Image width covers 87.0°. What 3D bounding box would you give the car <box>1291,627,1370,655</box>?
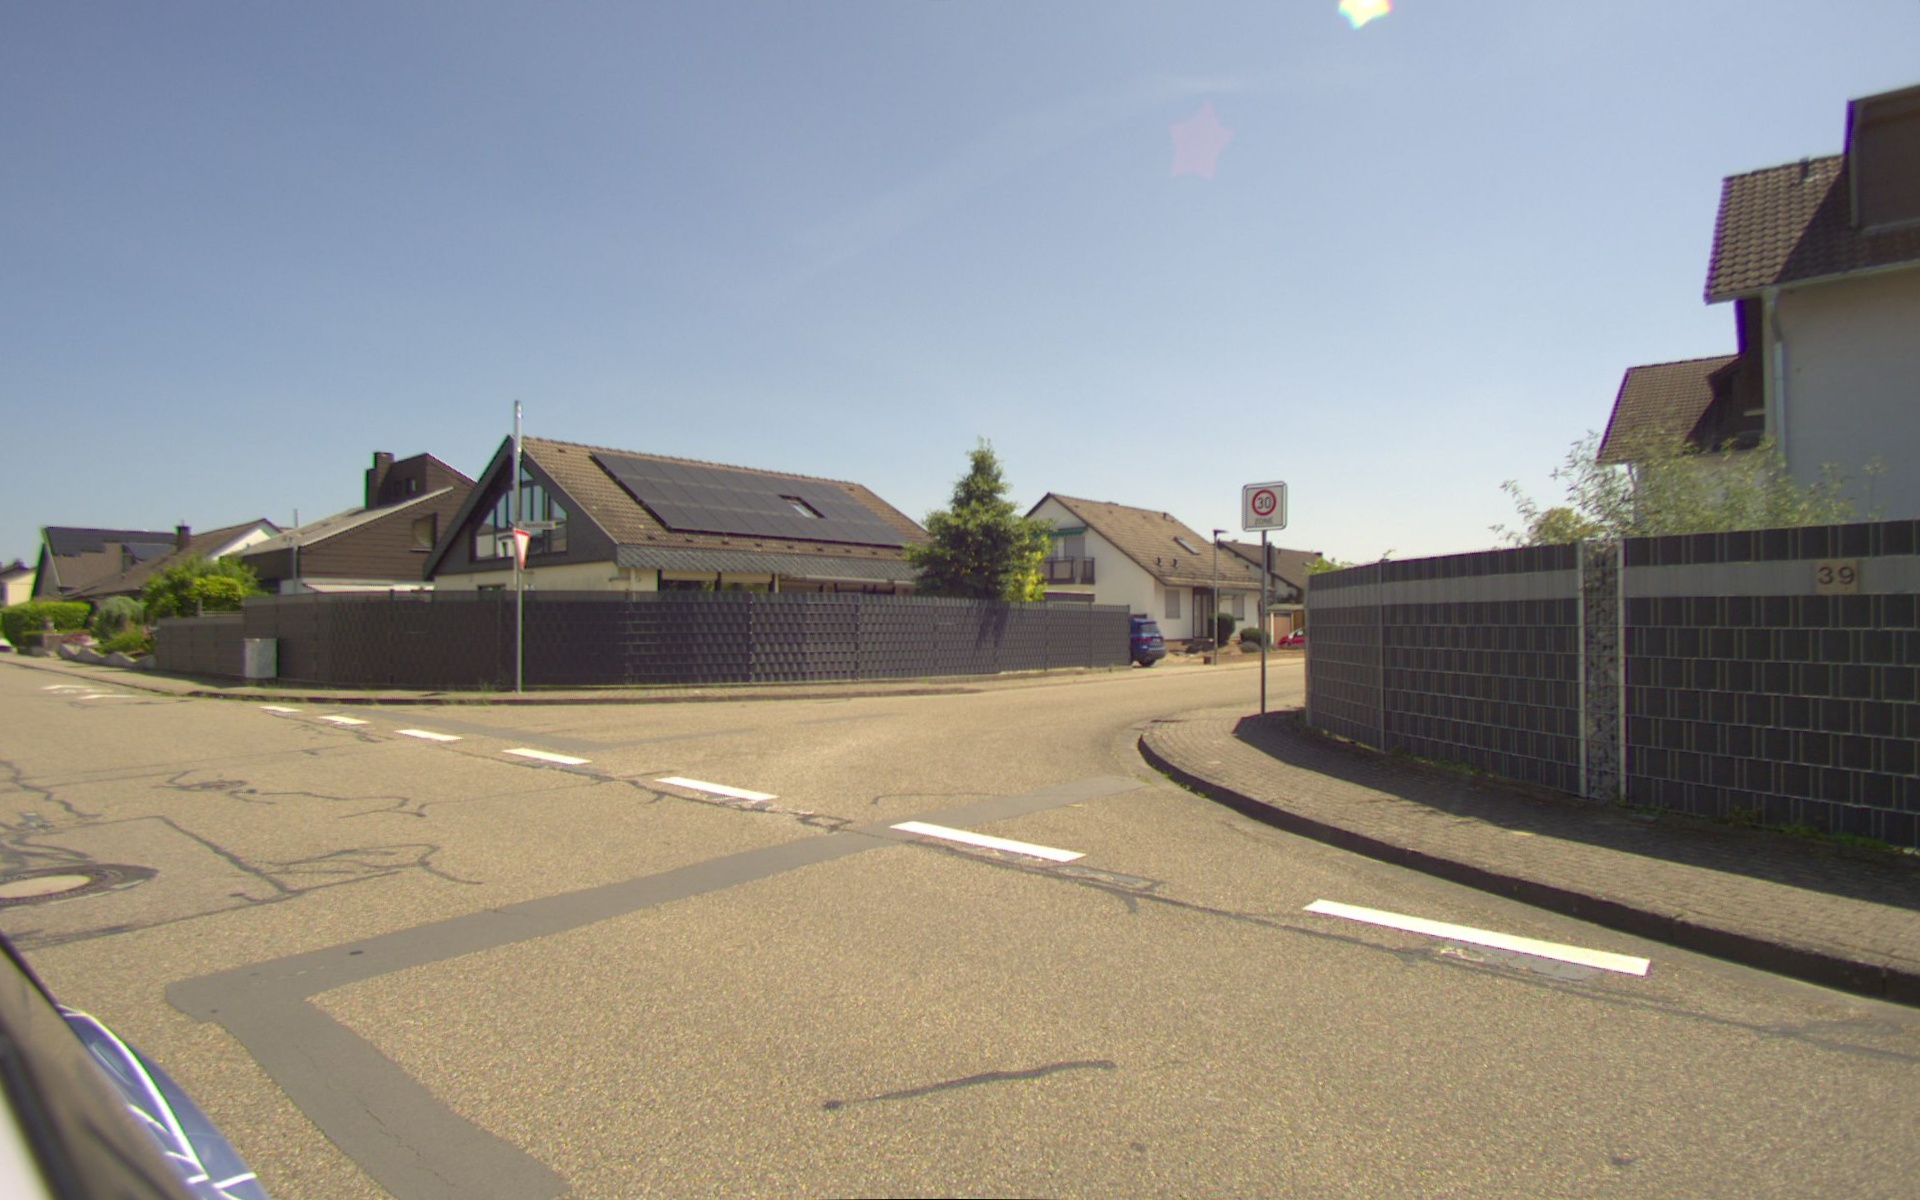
[{"bbox_3d":[20.703,2.270,56.615,3.909,1.497,1.659,-1,-3,35],"label":"car"}]

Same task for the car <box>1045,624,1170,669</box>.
[{"bbox_3d":[5.008,1.562,34.575,3.867,1.457,1.738,-1,-2,35],"label":"car"}]

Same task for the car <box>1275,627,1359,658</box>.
[{"bbox_3d":[19.179,2.268,54.435,3.950,1.599,1.738,-1,-2,35],"label":"car"}]

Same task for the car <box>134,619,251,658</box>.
[{"bbox_3d":[-35.191,1.757,46.467,1.900,1.697,3.948,-1,-2,39],"label":"car"}]
